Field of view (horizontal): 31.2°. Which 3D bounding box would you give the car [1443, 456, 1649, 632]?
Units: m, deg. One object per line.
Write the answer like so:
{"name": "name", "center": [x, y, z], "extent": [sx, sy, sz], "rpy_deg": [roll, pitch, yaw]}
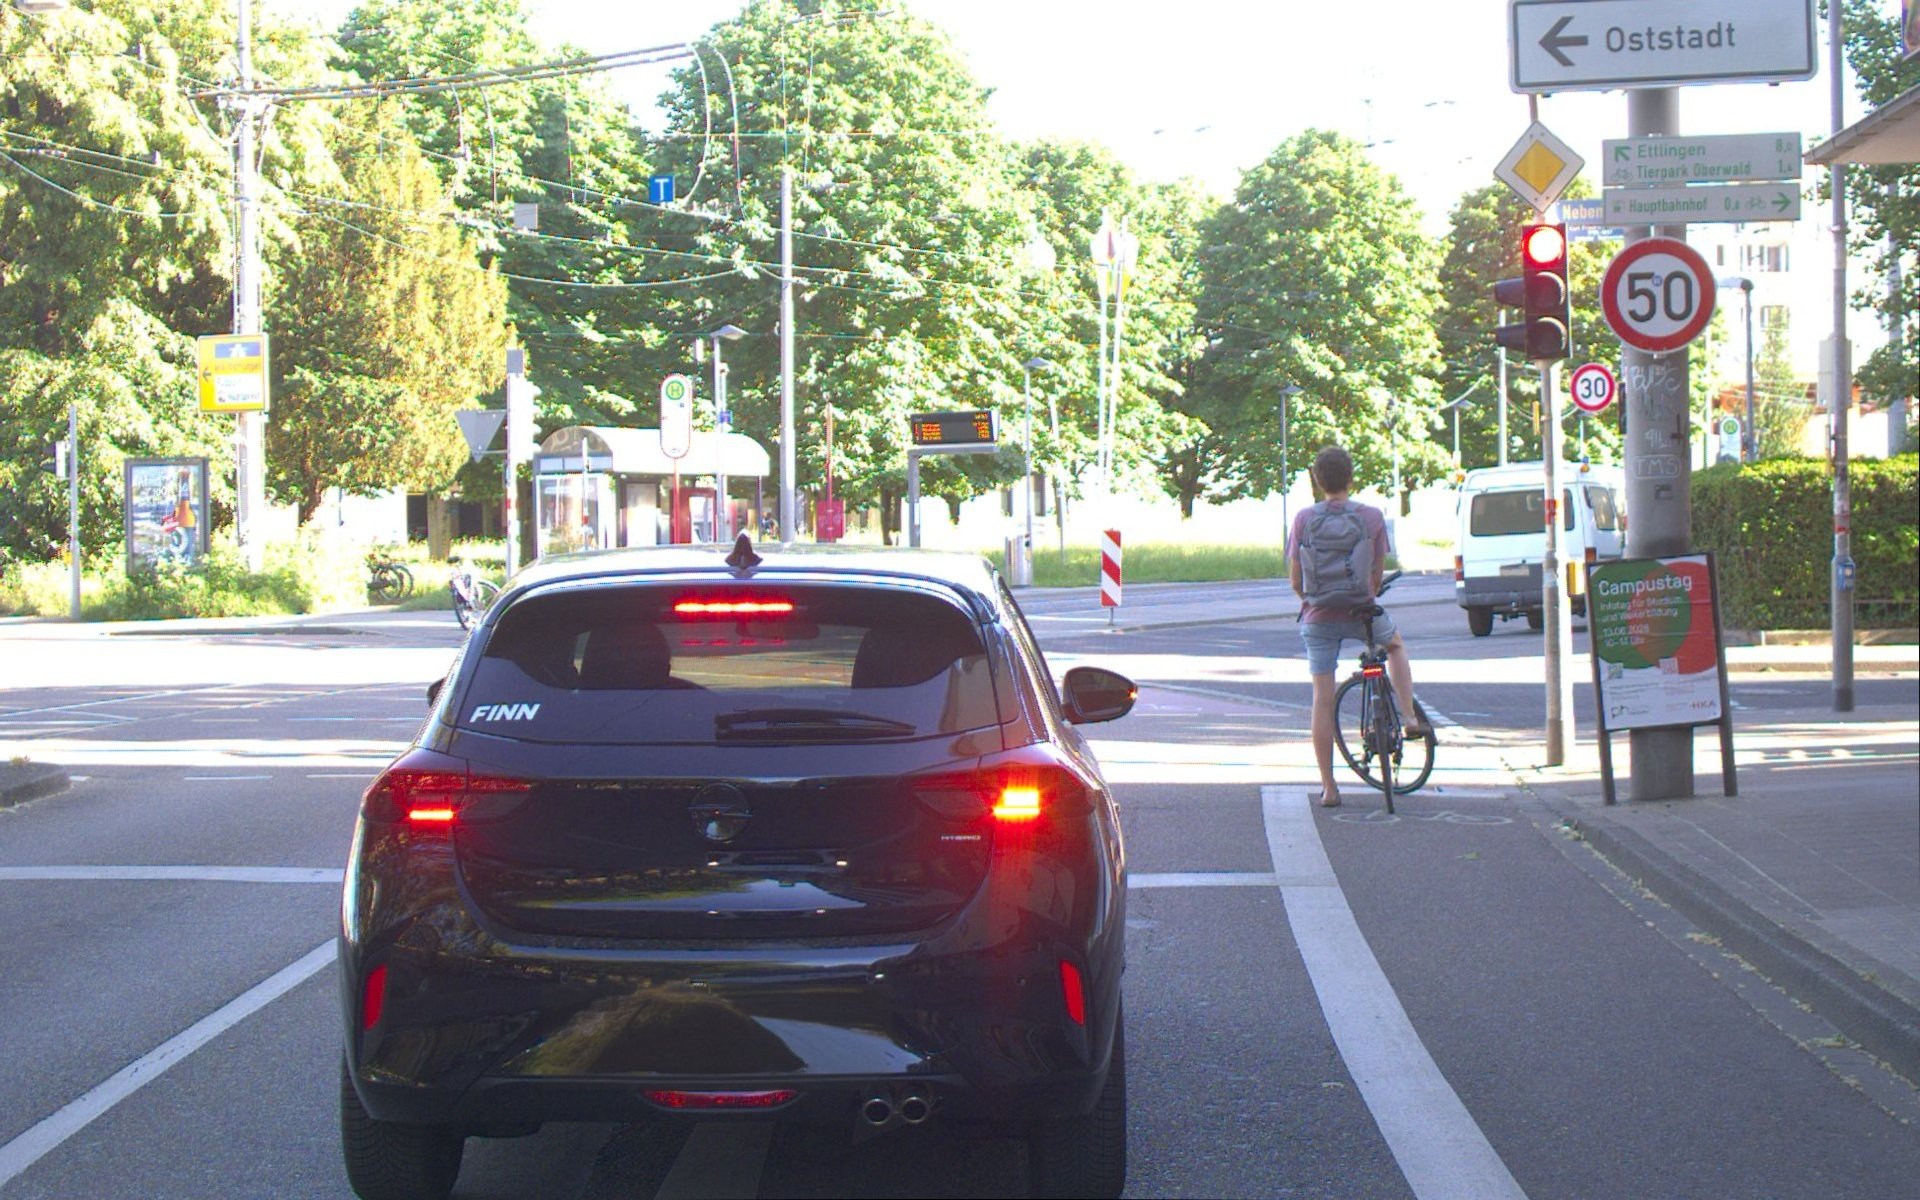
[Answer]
{"name": "car", "center": [7.981, -0.773, 46.458], "extent": [2.065, 2.241, 4.883], "rpy_deg": [0, 1, 18]}

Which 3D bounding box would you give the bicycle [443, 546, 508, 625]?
{"name": "bicycle", "center": [-6.545, -0.208, 46.479], "extent": [0.605, 1.028, 1.982], "rpy_deg": [0, 1, -1]}

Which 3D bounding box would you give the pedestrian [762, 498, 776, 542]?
{"name": "pedestrian", "center": [-6.114, -2.561, 109.986], "extent": [0.412, 1.408, 0.436], "rpy_deg": [1, 0, -1]}

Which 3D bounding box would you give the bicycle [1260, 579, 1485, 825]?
{"name": "bicycle", "center": [2.111, 0.491, 17.875], "extent": [0.860, 1.149, 2.172], "rpy_deg": [-1, 1, -1]}

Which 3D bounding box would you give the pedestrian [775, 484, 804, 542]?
{"name": "pedestrian", "center": [-5.920, -3.001, 119.276], "extent": [0.917, 1.974, 0.992], "rpy_deg": [1, 1, -6]}

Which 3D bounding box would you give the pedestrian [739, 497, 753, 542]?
{"name": "pedestrian", "center": [-6.874, -2.586, 110.534], "extent": [0.412, 1.408, 0.436], "rpy_deg": [1, 0, -3]}

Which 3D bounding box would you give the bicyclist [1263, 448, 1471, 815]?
{"name": "bicyclist", "center": [2.100, 0.149, 17.840], "extent": [0.941, 1.845, 0.864], "rpy_deg": [-1, 1, -1]}

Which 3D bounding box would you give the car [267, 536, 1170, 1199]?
{"name": "car", "center": [-0.480, 0.563, 8.699], "extent": [1.727, 1.424, 4.187], "rpy_deg": [0, 1, 0]}
